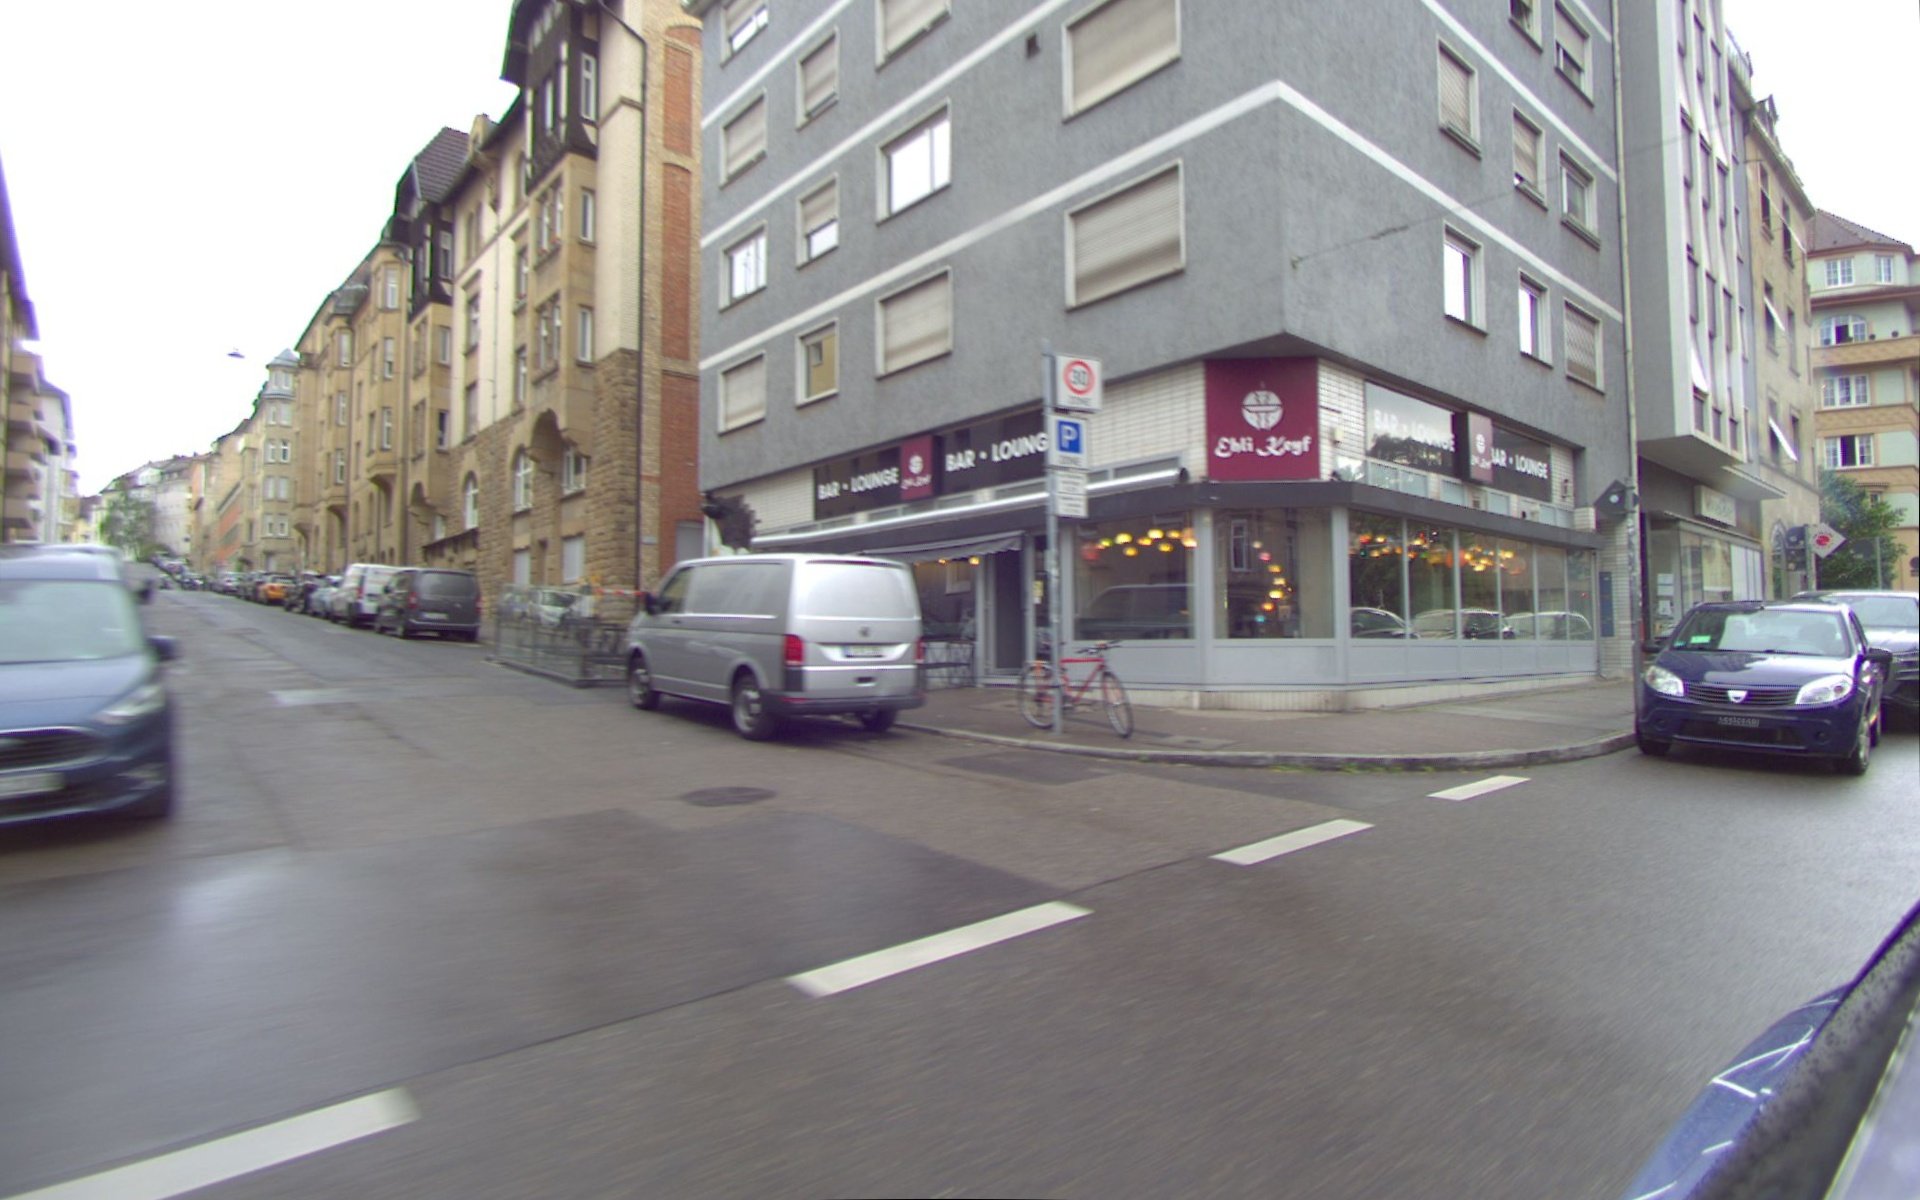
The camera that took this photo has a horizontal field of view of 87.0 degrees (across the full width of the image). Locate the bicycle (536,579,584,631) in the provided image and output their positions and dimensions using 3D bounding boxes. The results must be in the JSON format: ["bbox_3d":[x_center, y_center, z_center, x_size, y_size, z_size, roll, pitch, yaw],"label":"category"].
[{"bbox_3d":[-11.377,0.128,28.750,0.526,1.425,2.300,0,0,-41],"label":"bicycle"}]

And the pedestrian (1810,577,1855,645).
[{"bbox_3d":[24.116,0.291,27.974,0.832,1.840,0.851,0,0,-41],"label":"pedestrian"}]

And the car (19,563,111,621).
[{"bbox_3d":[-25.219,-0.257,28.578,1.830,1.502,4.180,0,1,-41],"label":"car"}]

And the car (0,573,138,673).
[{"bbox_3d":[-14.559,0.291,16.368,1.830,1.408,4.180,0,1,-41],"label":"car"}]

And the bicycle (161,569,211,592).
[{"bbox_3d":[-55.150,-1.410,72.116,2.794,1.615,0.960,-1,0,-42],"label":"bicycle"}]

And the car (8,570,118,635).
[{"bbox_3d":[-21.300,0.011,24.113,1.830,1.408,4.180,0,1,-41],"label":"car"}]

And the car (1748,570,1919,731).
[{"bbox_3d":[11.888,0.569,13.159,4.487,1.783,1.795,0,-1,-42],"label":"car"}]

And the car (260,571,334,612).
[{"bbox_3d":[-26.347,-0.327,40.190,1.892,1.523,4.098,2,-1,-41],"label":"car"}]

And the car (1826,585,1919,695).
[{"bbox_3d":[16.087,0.608,16.974,4.177,1.675,1.821,0,0,-42],"label":"car"}]

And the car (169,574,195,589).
[{"bbox_3d":[-83.598,-2.007,108.734,1.891,1.523,4.415,2,-1,-41],"label":"car"}]

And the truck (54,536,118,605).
[{"bbox_3d":[-35.034,-1.149,40.584,1.830,2.554,6.710,0,1,-41],"label":"truck"}]

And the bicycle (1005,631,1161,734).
[{"bbox_3d":[1.260,0.836,10.684,0.524,0.986,1.752,0,-2,-39],"label":"bicycle"}]

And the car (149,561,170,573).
[{"bbox_3d":[-108.991,-4.510,137.744,1.892,1.523,4.413,2,-1,-42],"label":"car"}]

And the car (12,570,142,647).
[{"bbox_3d":[-17.910,0.112,20.587,1.830,1.408,4.180,0,1,-41],"label":"car"}]

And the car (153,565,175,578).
[{"bbox_3d":[-103.961,-3.736,132.190,1.892,1.523,4.413,2,-1,-42],"label":"car"}]

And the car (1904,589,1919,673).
[{"bbox_3d":[20.803,0.602,20.742,4.440,1.634,1.713,0,0,-42],"label":"car"}]

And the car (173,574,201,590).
[{"bbox_3d":[-75.693,-1.744,99.057,1.891,1.523,4.415,2,-1,-41],"label":"car"}]

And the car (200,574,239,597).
[{"bbox_3d":[-52.251,-1.007,71.378,1.892,1.523,4.098,2,-1,-41],"label":"car"}]

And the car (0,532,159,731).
[{"bbox_3d":[-10.744,0.217,11.869,1.965,1.949,4.715,-2,3,-40],"label":"car"}]

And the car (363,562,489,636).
[{"bbox_3d":[-13.922,-0.007,26.281,1.891,1.761,4.477,2,-1,-41],"label":"car"}]

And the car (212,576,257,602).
[{"bbox_3d":[-45.514,-0.675,63.465,1.892,1.523,4.098,2,-1,-41],"label":"car"}]

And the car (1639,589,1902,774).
[{"bbox_3d":[8.259,0.658,10.189,1.691,1.501,3.866,0,0,44],"label":"car"}]

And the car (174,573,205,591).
[{"bbox_3d":[-68.857,-1.587,90.412,1.891,1.523,4.415,2,-1,-41],"label":"car"}]

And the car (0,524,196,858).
[{"bbox_3d":[-7.051,0.460,7.435,1.965,1.885,4.786,0,1,-41],"label":"car"}]

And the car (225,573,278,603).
[{"bbox_3d":[-38.302,-0.613,54.645,1.892,1.523,4.098,2,-1,-41],"label":"car"}]

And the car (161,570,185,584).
[{"bbox_3d":[-96.163,-2.774,123.656,1.892,1.523,4.413,2,-1,-42],"label":"car"}]

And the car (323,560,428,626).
[{"bbox_3d":[-17.680,-0.195,30.519,1.891,1.827,4.477,2,-1,-41],"label":"car"}]

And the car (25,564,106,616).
[{"bbox_3d":[-28.189,-0.341,31.954,1.830,1.502,4.180,0,1,-41],"label":"car"}]

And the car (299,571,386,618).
[{"bbox_3d":[-21.609,-0.172,35.350,1.892,1.523,4.098,2,-1,-41],"label":"car"}]

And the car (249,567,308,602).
[{"bbox_3d":[-31.856,-0.718,47.267,1.793,1.523,4.098,2,-1,-41],"label":"car"}]

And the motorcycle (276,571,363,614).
[{"bbox_3d":[-23.774,-0.251,37.608,0.974,1.523,2.555,0,-1,33],"label":"motorcycle"}]
